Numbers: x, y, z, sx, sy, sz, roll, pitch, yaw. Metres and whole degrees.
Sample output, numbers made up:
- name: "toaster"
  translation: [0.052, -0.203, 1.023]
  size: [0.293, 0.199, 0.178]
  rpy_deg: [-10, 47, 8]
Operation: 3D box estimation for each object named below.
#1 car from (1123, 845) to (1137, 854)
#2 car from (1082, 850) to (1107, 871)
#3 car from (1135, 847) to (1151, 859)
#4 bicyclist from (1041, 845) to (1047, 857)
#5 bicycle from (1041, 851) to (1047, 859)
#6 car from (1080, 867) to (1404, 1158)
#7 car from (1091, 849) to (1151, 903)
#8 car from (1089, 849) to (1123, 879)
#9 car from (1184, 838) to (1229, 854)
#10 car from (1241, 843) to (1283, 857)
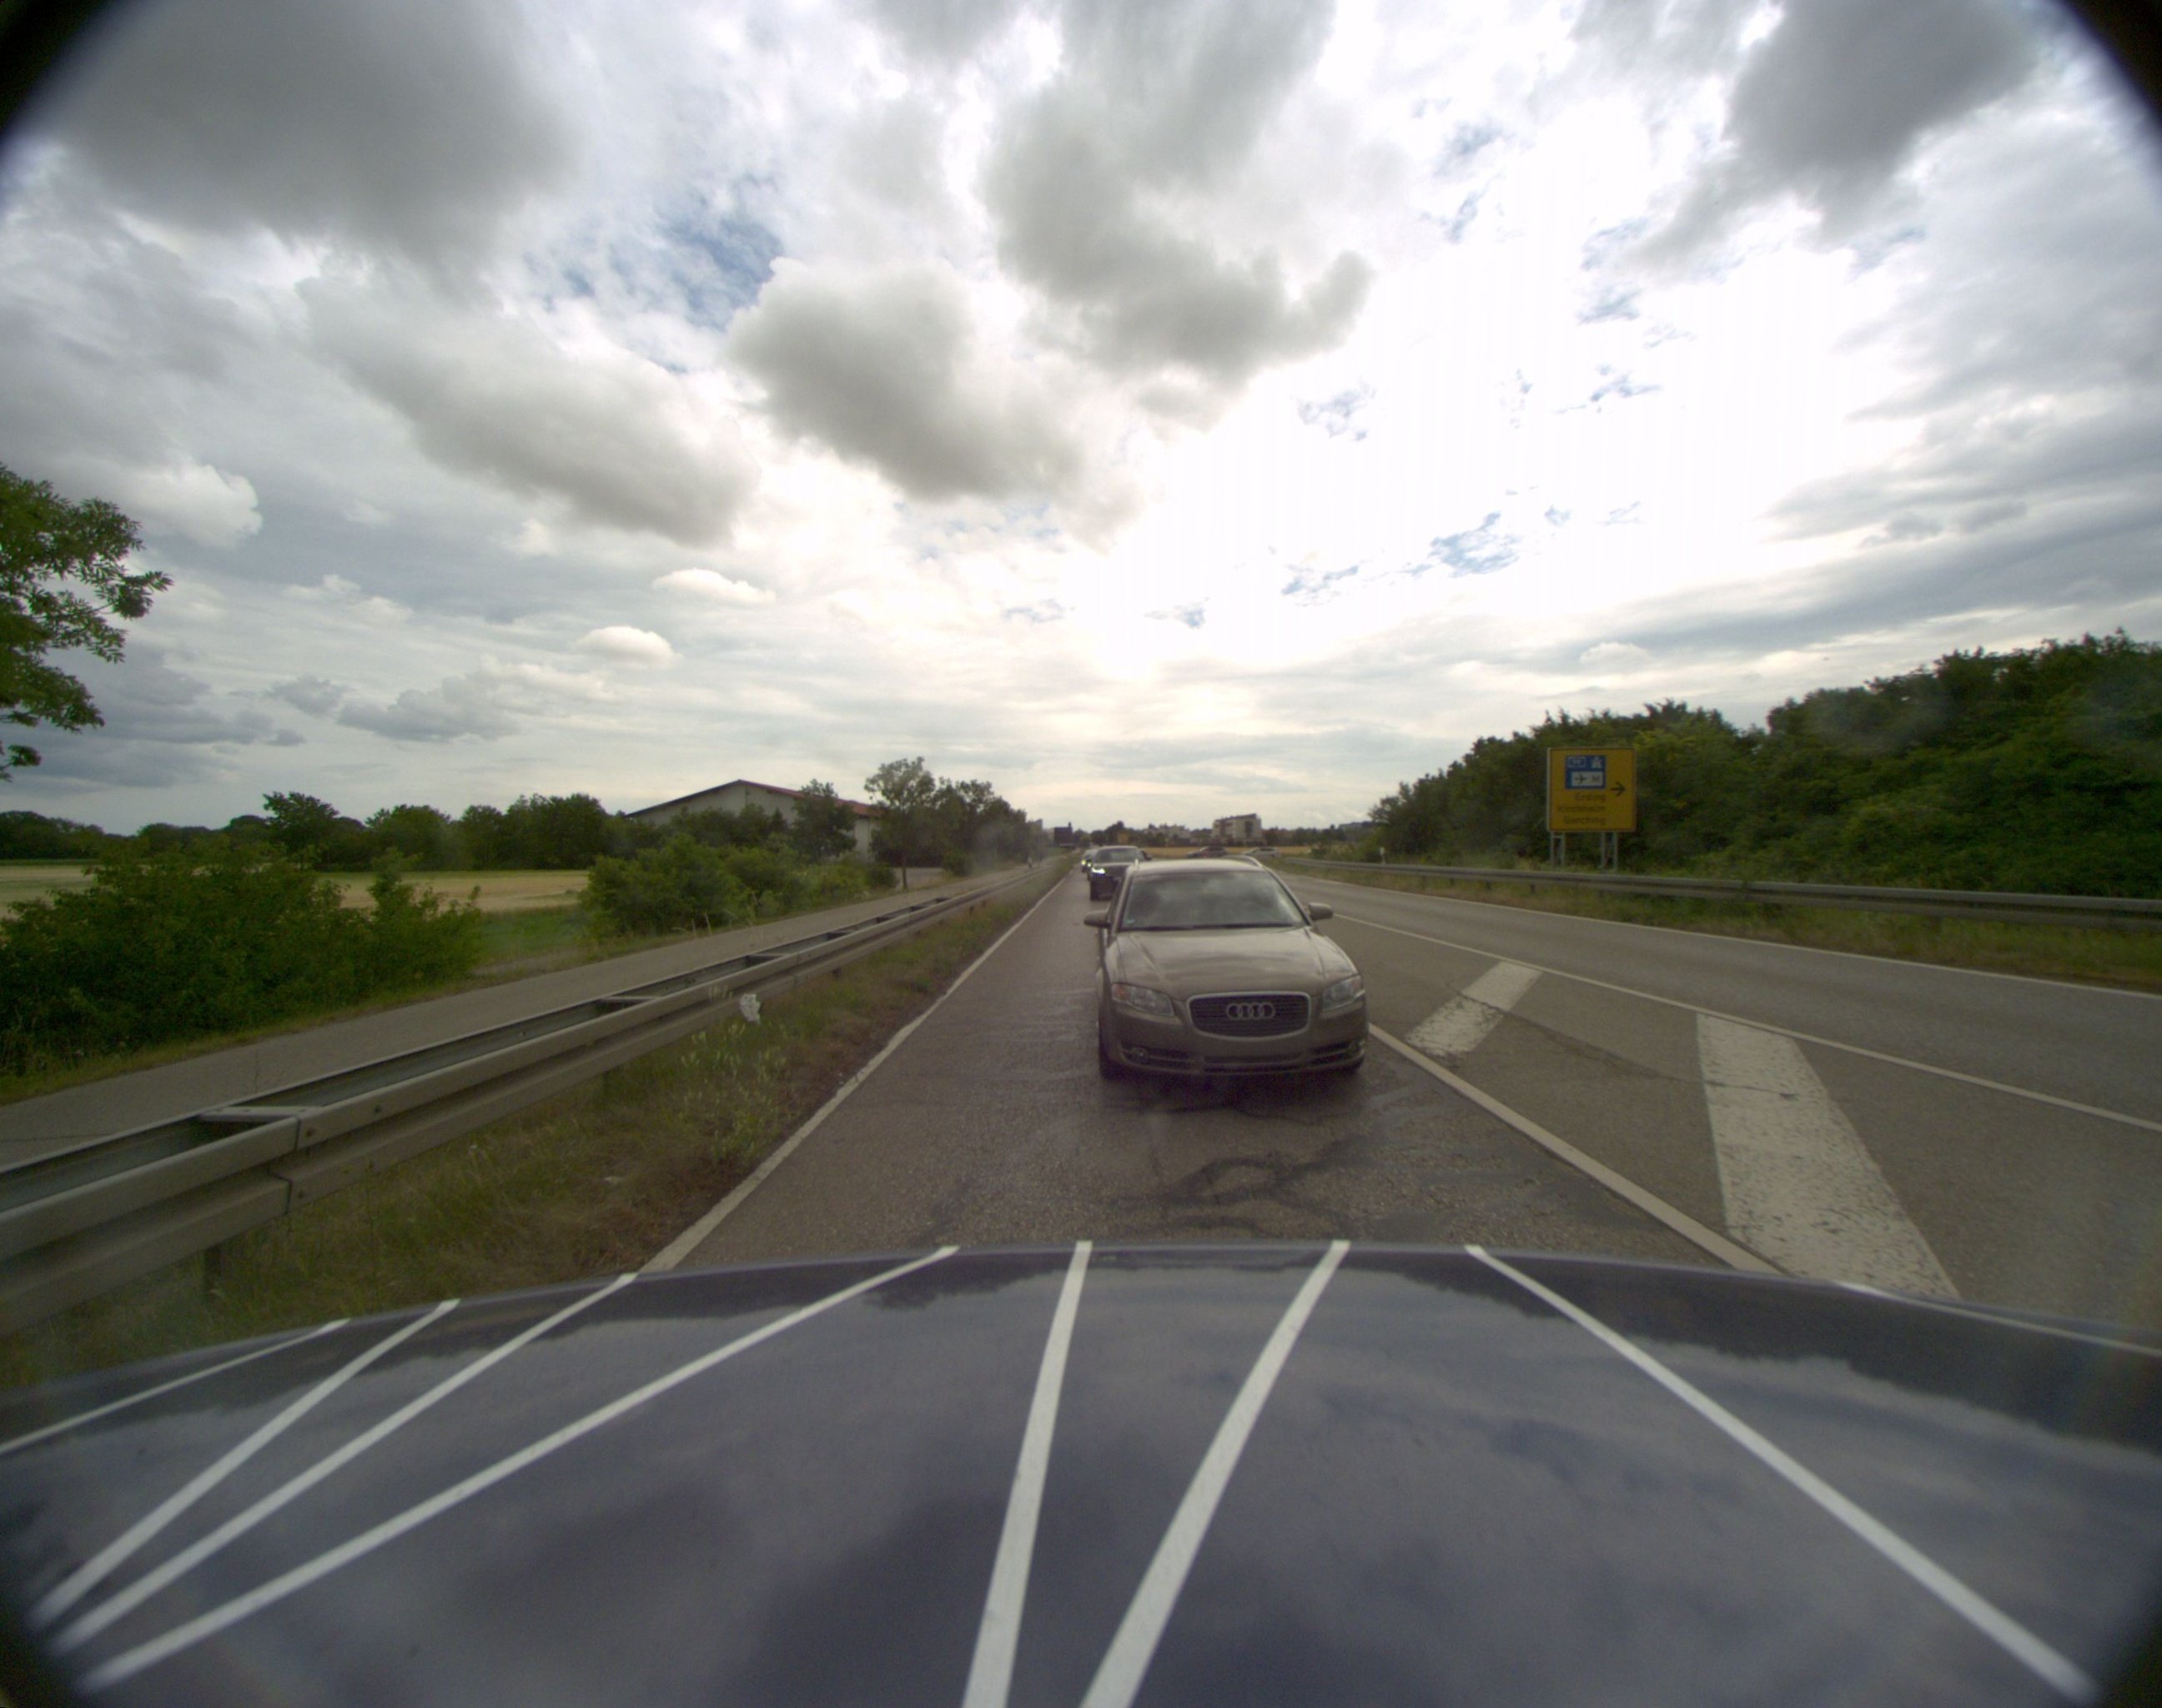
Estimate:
- name: "car"
  translation: [8.228, -0.781, 127.708]
  size: [1.999, 1.481, 3.837]
  rpy_deg: [-1, 1, -3]
- name: "car"
  translation: [1.007, 0.487, 57.383]
  size: [1.730, 1.436, 4.204]
  rpy_deg: [-2, 1, 1]
- name: "car"
  translation: [8.379, -0.170, 103.107]
  size: [1.804, 1.442, 4.445]
  rpy_deg: [-1, 1, 0]
- name: "bicyclist"
  translation: [-4.857, -0.355, 100.084]
  size: [0.640, 1.573, 0.969]
  rpy_deg: [-1, 1, 1]
- name: "bicycle"
  translation: [-4.850, 0.119, 100.114]
  size: [0.640, 0.973, 2.072]
  rpy_deg: [-1, 1, 1]
- name: "car"
  translation: [0.901, 0.900, 6.221]
  size: [1.730, 1.436, 4.204]
  rpy_deg: [-1, 1, 1]
- name: "car"
  translation: [1.228, 0.660, 24.911]
  size: [1.730, 1.534, 4.204]
  rpy_deg: [-2, 1, 1]
- name: "car"
  translation: [1.339, 0.514, 42.012]
  size: [1.730, 1.478, 4.204]
  rpy_deg: [-2, 1, 1]
- name: "car"
  translation: [14.533, -0.945, 88.231]
  size: [4.815, 1.680, 1.999]
  rpy_deg: [-1, 1, -3]
- name: "car"
  translation: [20.961, -0.475, 88.063]
  size: [4.672, 1.490, 2.001]
  rpy_deg: [-1, 1, 10]
